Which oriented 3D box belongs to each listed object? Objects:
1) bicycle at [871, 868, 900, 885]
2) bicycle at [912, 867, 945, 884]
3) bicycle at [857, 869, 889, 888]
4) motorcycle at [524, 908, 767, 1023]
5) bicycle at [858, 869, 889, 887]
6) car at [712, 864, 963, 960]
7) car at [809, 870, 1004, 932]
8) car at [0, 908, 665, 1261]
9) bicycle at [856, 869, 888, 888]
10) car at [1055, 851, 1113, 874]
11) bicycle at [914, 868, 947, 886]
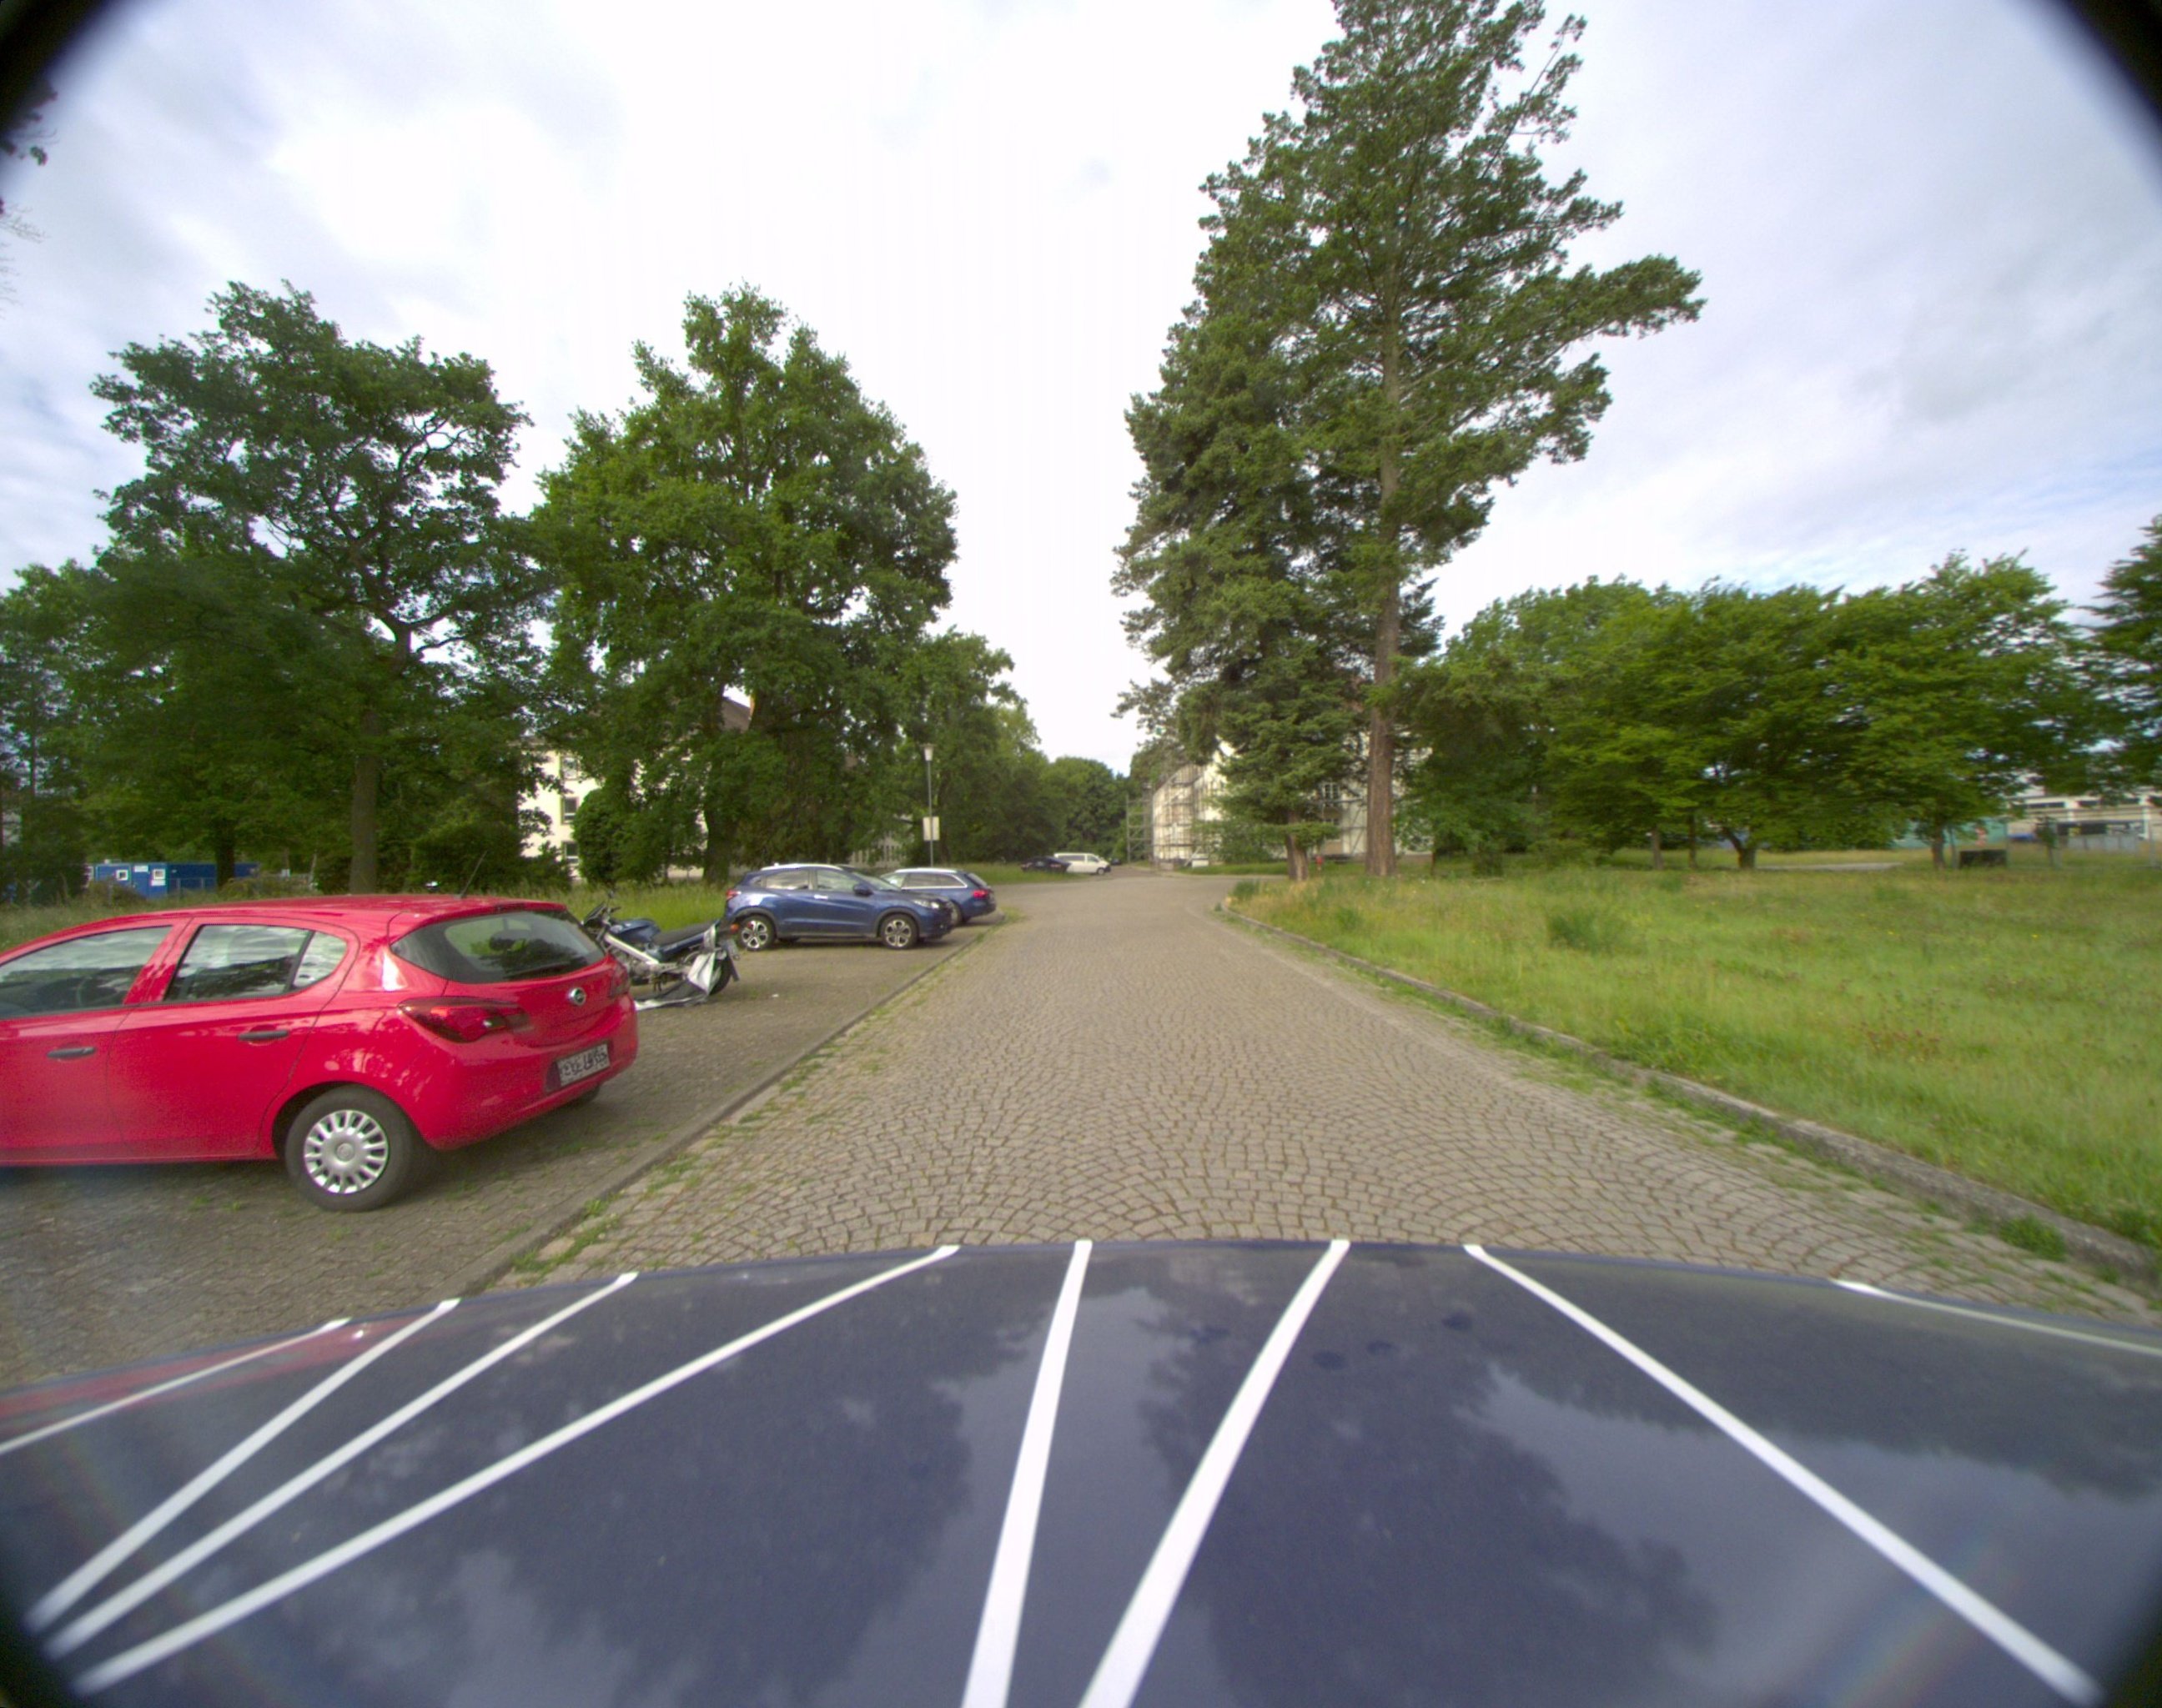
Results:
[{"bbox_3d":[-13.514,1.546,52.598,1.859,1.116,0.621,-3,1,-23],"label":"bicycle"},{"bbox_3d":[-10.351,1.448,51.549,2.032,1.070,0.621,-3,1,-23],"label":"bicycle"},{"bbox_3d":[-13.191,1.559,48.107,1.859,1.116,0.621,-3,1,-23],"label":"bicycle"},{"bbox_3d":[-5.001,1.263,8.850,2.333,1.179,0.795,-1,1,-2],"label":"motorcycle"},{"bbox_3d":[-13.734,1.575,50.380,1.859,1.116,0.621,-3,1,-23],"label":"bicycle"},{"bbox_3d":[-4.517,1.061,14.565,4.172,1.562,1.793,-2,1,1],"label":"car"},{"bbox_3d":[-4.328,1.160,19.263,4.480,1.413,1.785,-1,0,3],"label":"car"},{"bbox_3d":[-4.795,1.120,4.335,3.835,1.452,1.779,0,1,0],"label":"car"},{"bbox_3d":[-13.388,1.565,48.718,1.859,1.116,0.621,-3,1,-23],"label":"bicycle"},{"bbox_3d":[0.271,0.749,68.085,5.101,2.007,2.054,-1,0,-1],"label":"car"},{"bbox_3d":[-9.788,1.479,49.440,1.976,1.070,0.587,-3,1,-27],"label":"bicycle"}]
